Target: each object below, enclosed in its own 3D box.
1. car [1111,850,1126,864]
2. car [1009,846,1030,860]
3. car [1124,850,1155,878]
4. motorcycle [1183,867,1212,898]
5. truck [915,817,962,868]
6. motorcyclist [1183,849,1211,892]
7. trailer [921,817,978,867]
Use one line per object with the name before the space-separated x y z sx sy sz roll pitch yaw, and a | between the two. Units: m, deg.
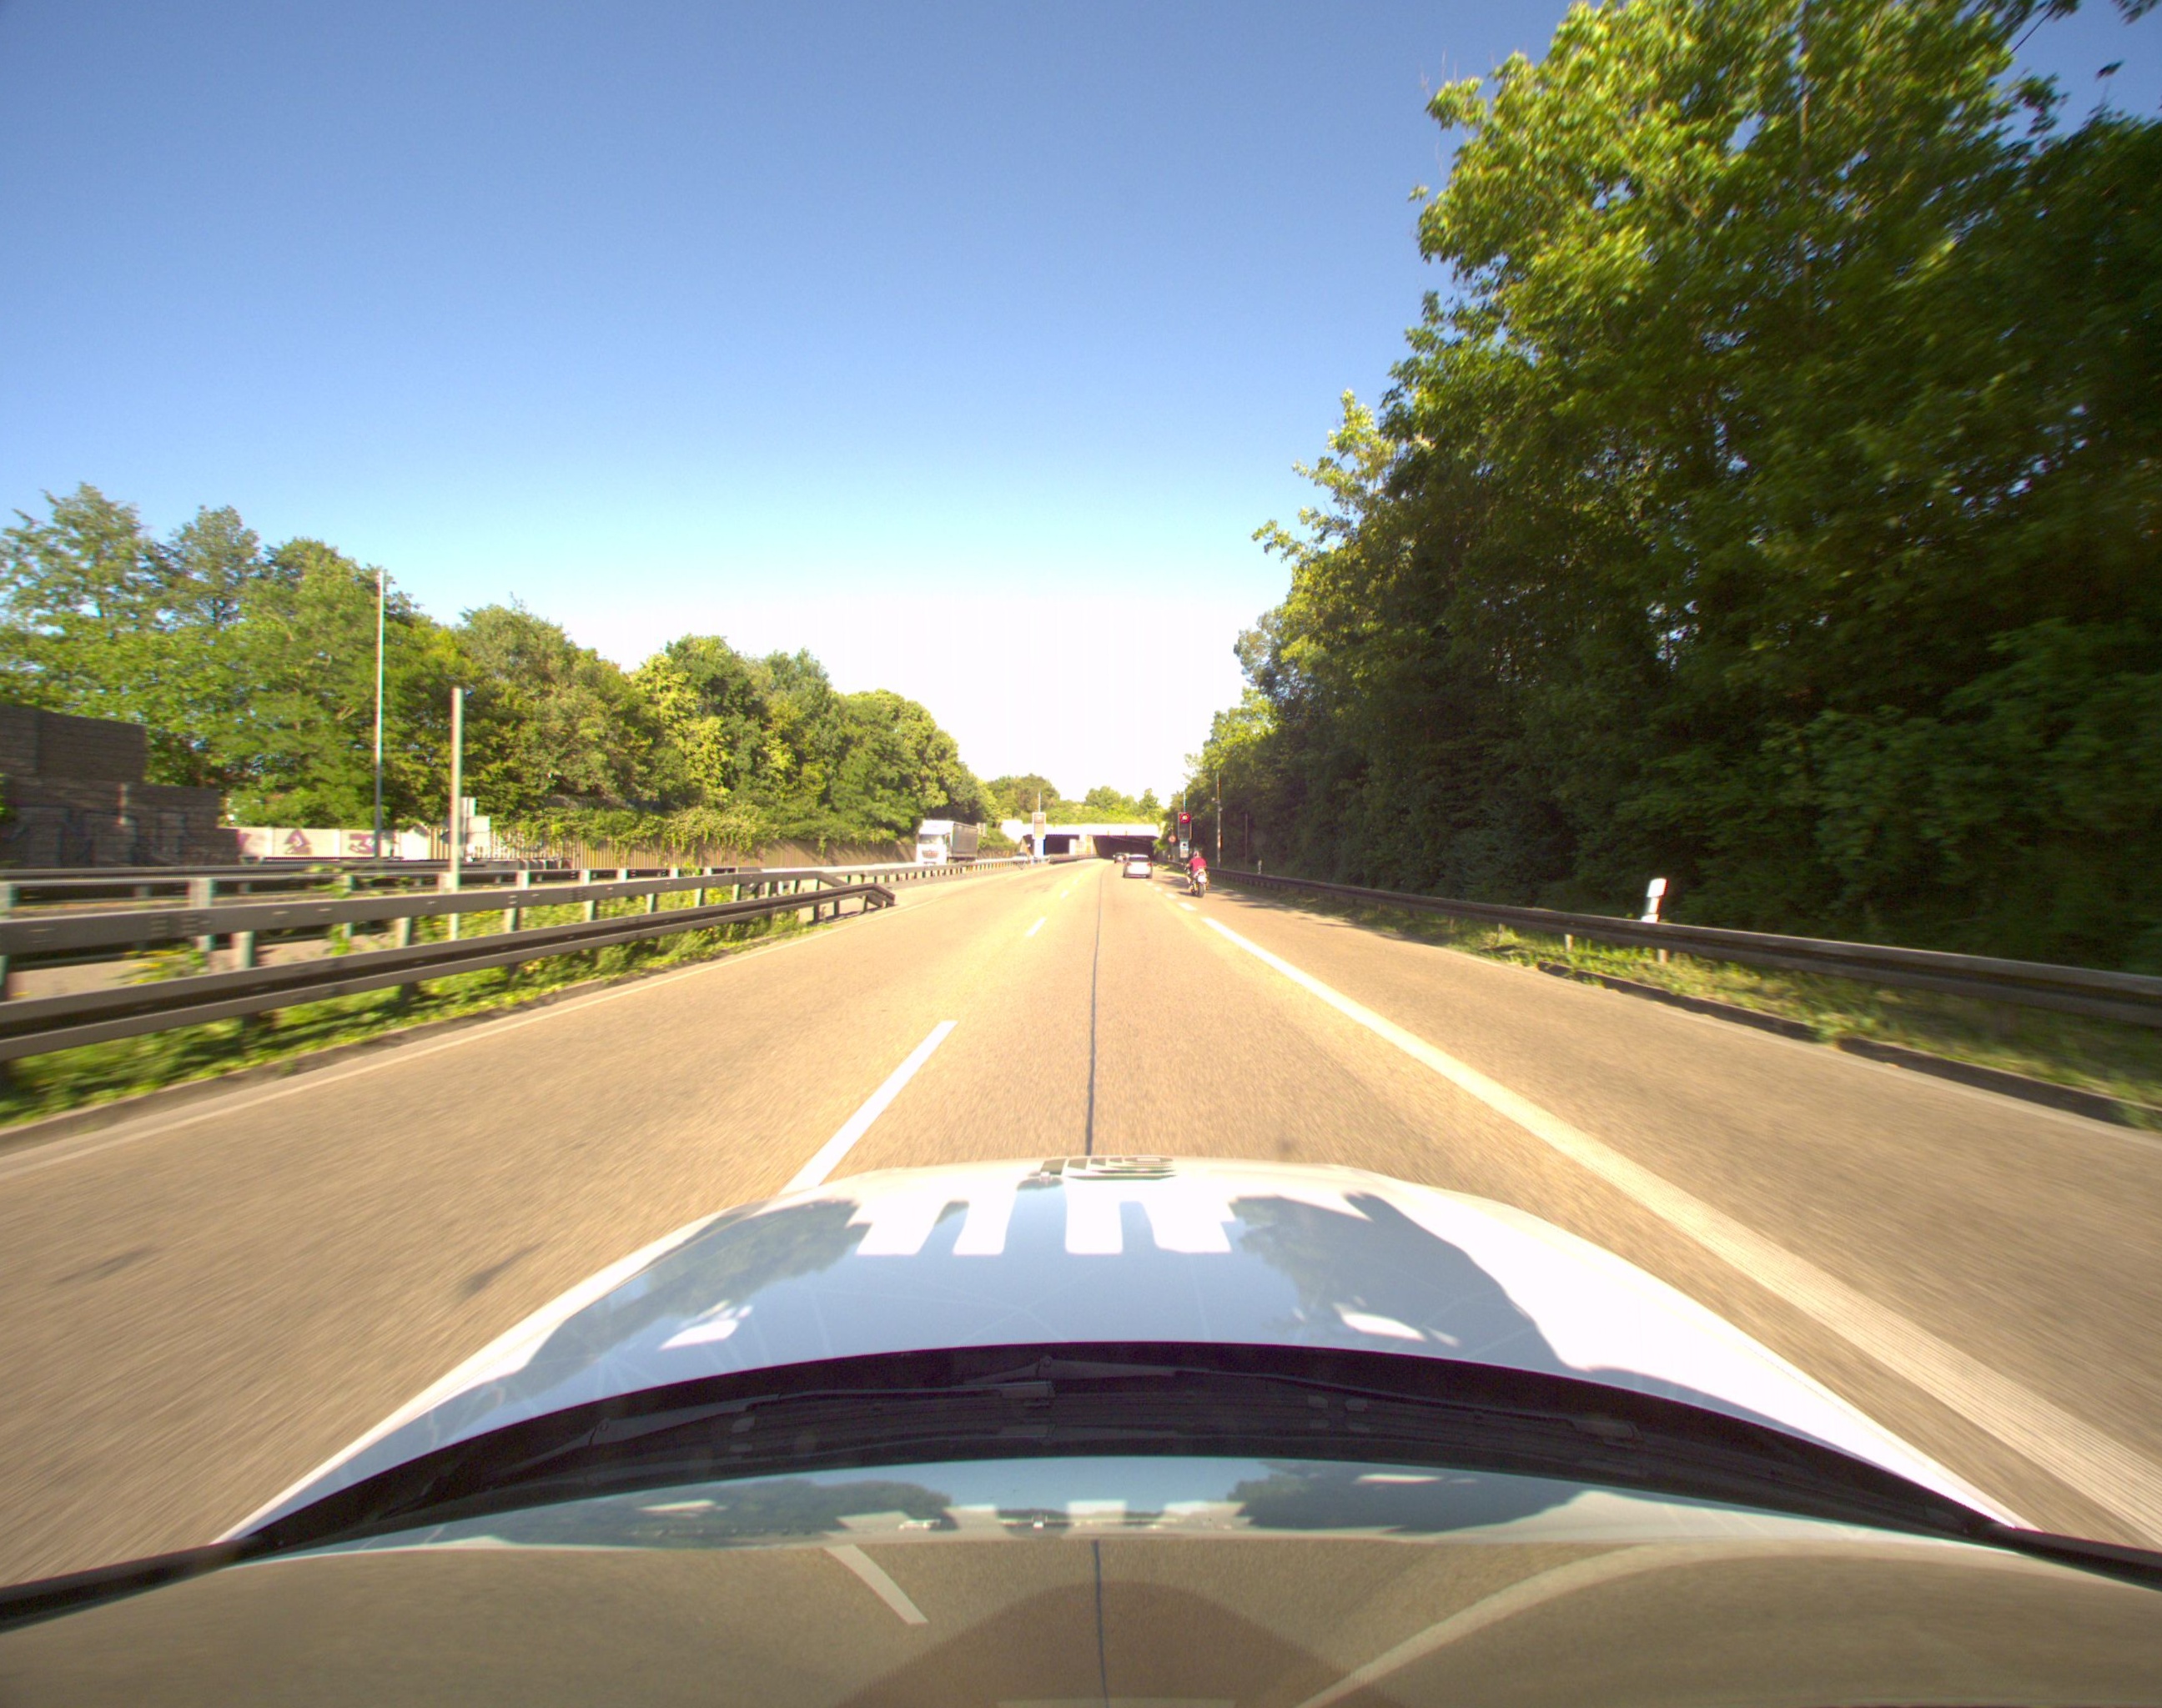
car | 5.497 0.467 119.622 1.987 1.925 4.001 1 1 1
car | -7.767 -0.122 103.689 1.986 1.658 4.941 2 1 2
car | 3.645 0.583 51.220 1.661 1.552 4.001 2 1 1
motorcycle | 4.171 0.986 29.330 0.854 0.991 2.732 2 0 5
truck | -12.535 -1.044 72.161 2.726 4.261 6.389 2 1 1
motorcyclist | 4.180 0.578 29.449 0.879 1.501 1.064 2 1 4
trailer | -12.431 -1.196 78.469 2.737 4.279 14.089 2 1 1
